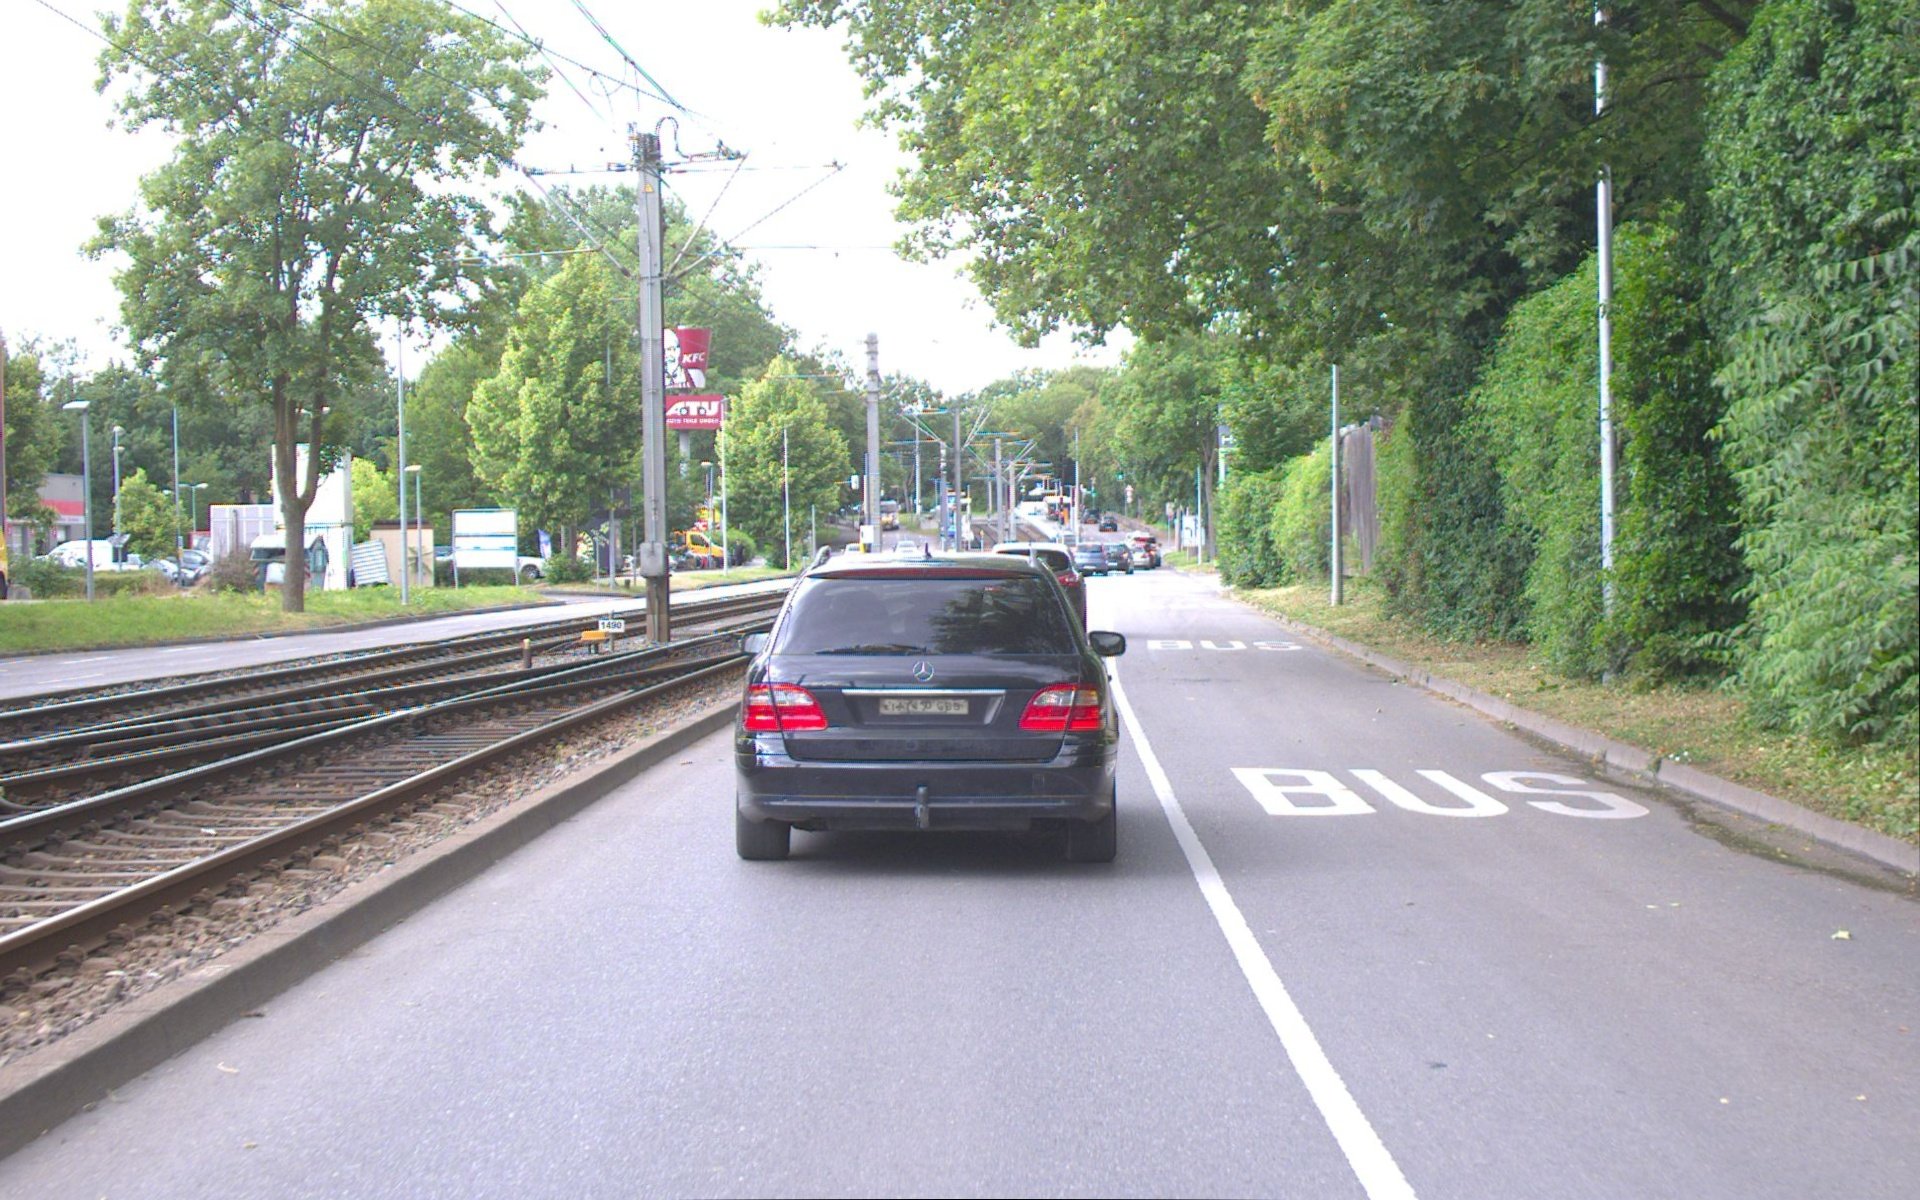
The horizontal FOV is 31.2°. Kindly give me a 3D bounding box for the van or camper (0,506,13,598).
[{"bbox_3d":[-22.113,-1.022,73.871,2.103,2.007,5.243,0,1,-1],"label":"van or camper"}]

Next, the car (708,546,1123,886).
[{"bbox_3d":[-0.107,0.476,16.999,1.808,1.469,3.880,1,1,3],"label":"car"}]

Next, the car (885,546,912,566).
[{"bbox_3d":[-4.502,-3.243,252.467,1.759,1.396,4.443,-3,1,2],"label":"car"}]

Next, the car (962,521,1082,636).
[{"bbox_3d":[1.024,-0.351,55.094,1.780,1.744,3.718,1,0,3],"label":"car"}]

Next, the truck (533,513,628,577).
[{"bbox_3d":[-17.251,-2.511,156.367,3.987,2.812,2.376,-1,1,0],"label":"truck"}]

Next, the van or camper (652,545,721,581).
[{"bbox_3d":[-16.321,-2.227,205.407,3.986,2.127,1.878,0,1,-2],"label":"van or camper"}]

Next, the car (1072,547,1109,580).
[{"bbox_3d":[5.821,-1.620,153.108,1.571,1.410,3.354,1,0,3],"label":"car"}]
